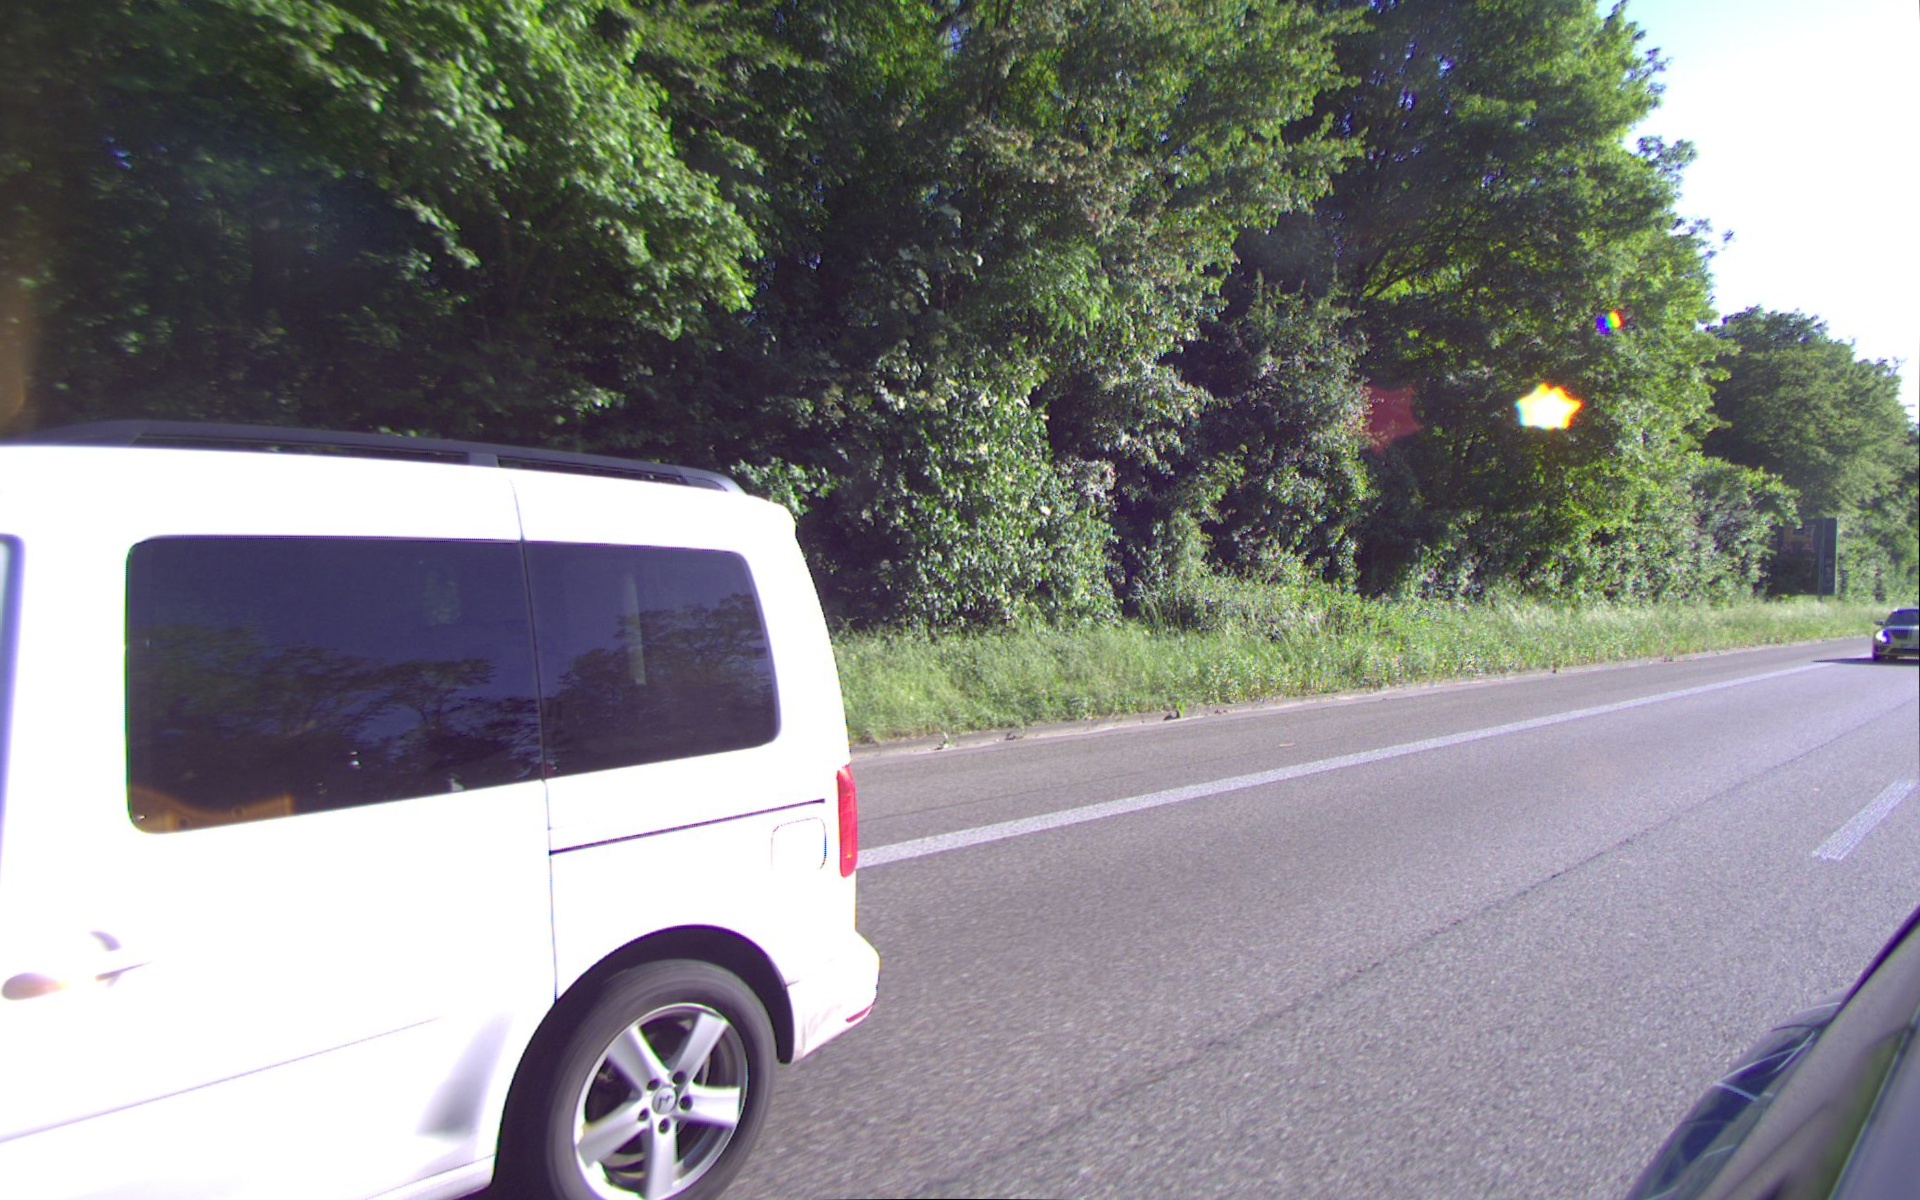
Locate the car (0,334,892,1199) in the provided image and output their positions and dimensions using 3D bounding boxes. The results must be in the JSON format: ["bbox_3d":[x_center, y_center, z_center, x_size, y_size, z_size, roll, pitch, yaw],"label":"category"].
[{"bbox_3d":[-2.461,0.504,1.920,4.508,1.836,1.802,-1,0,-41],"label":"car"}]

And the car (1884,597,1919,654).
[{"bbox_3d":[26.434,0.657,27.346,3.811,1.467,1.792,0,0,-42],"label":"car"}]
